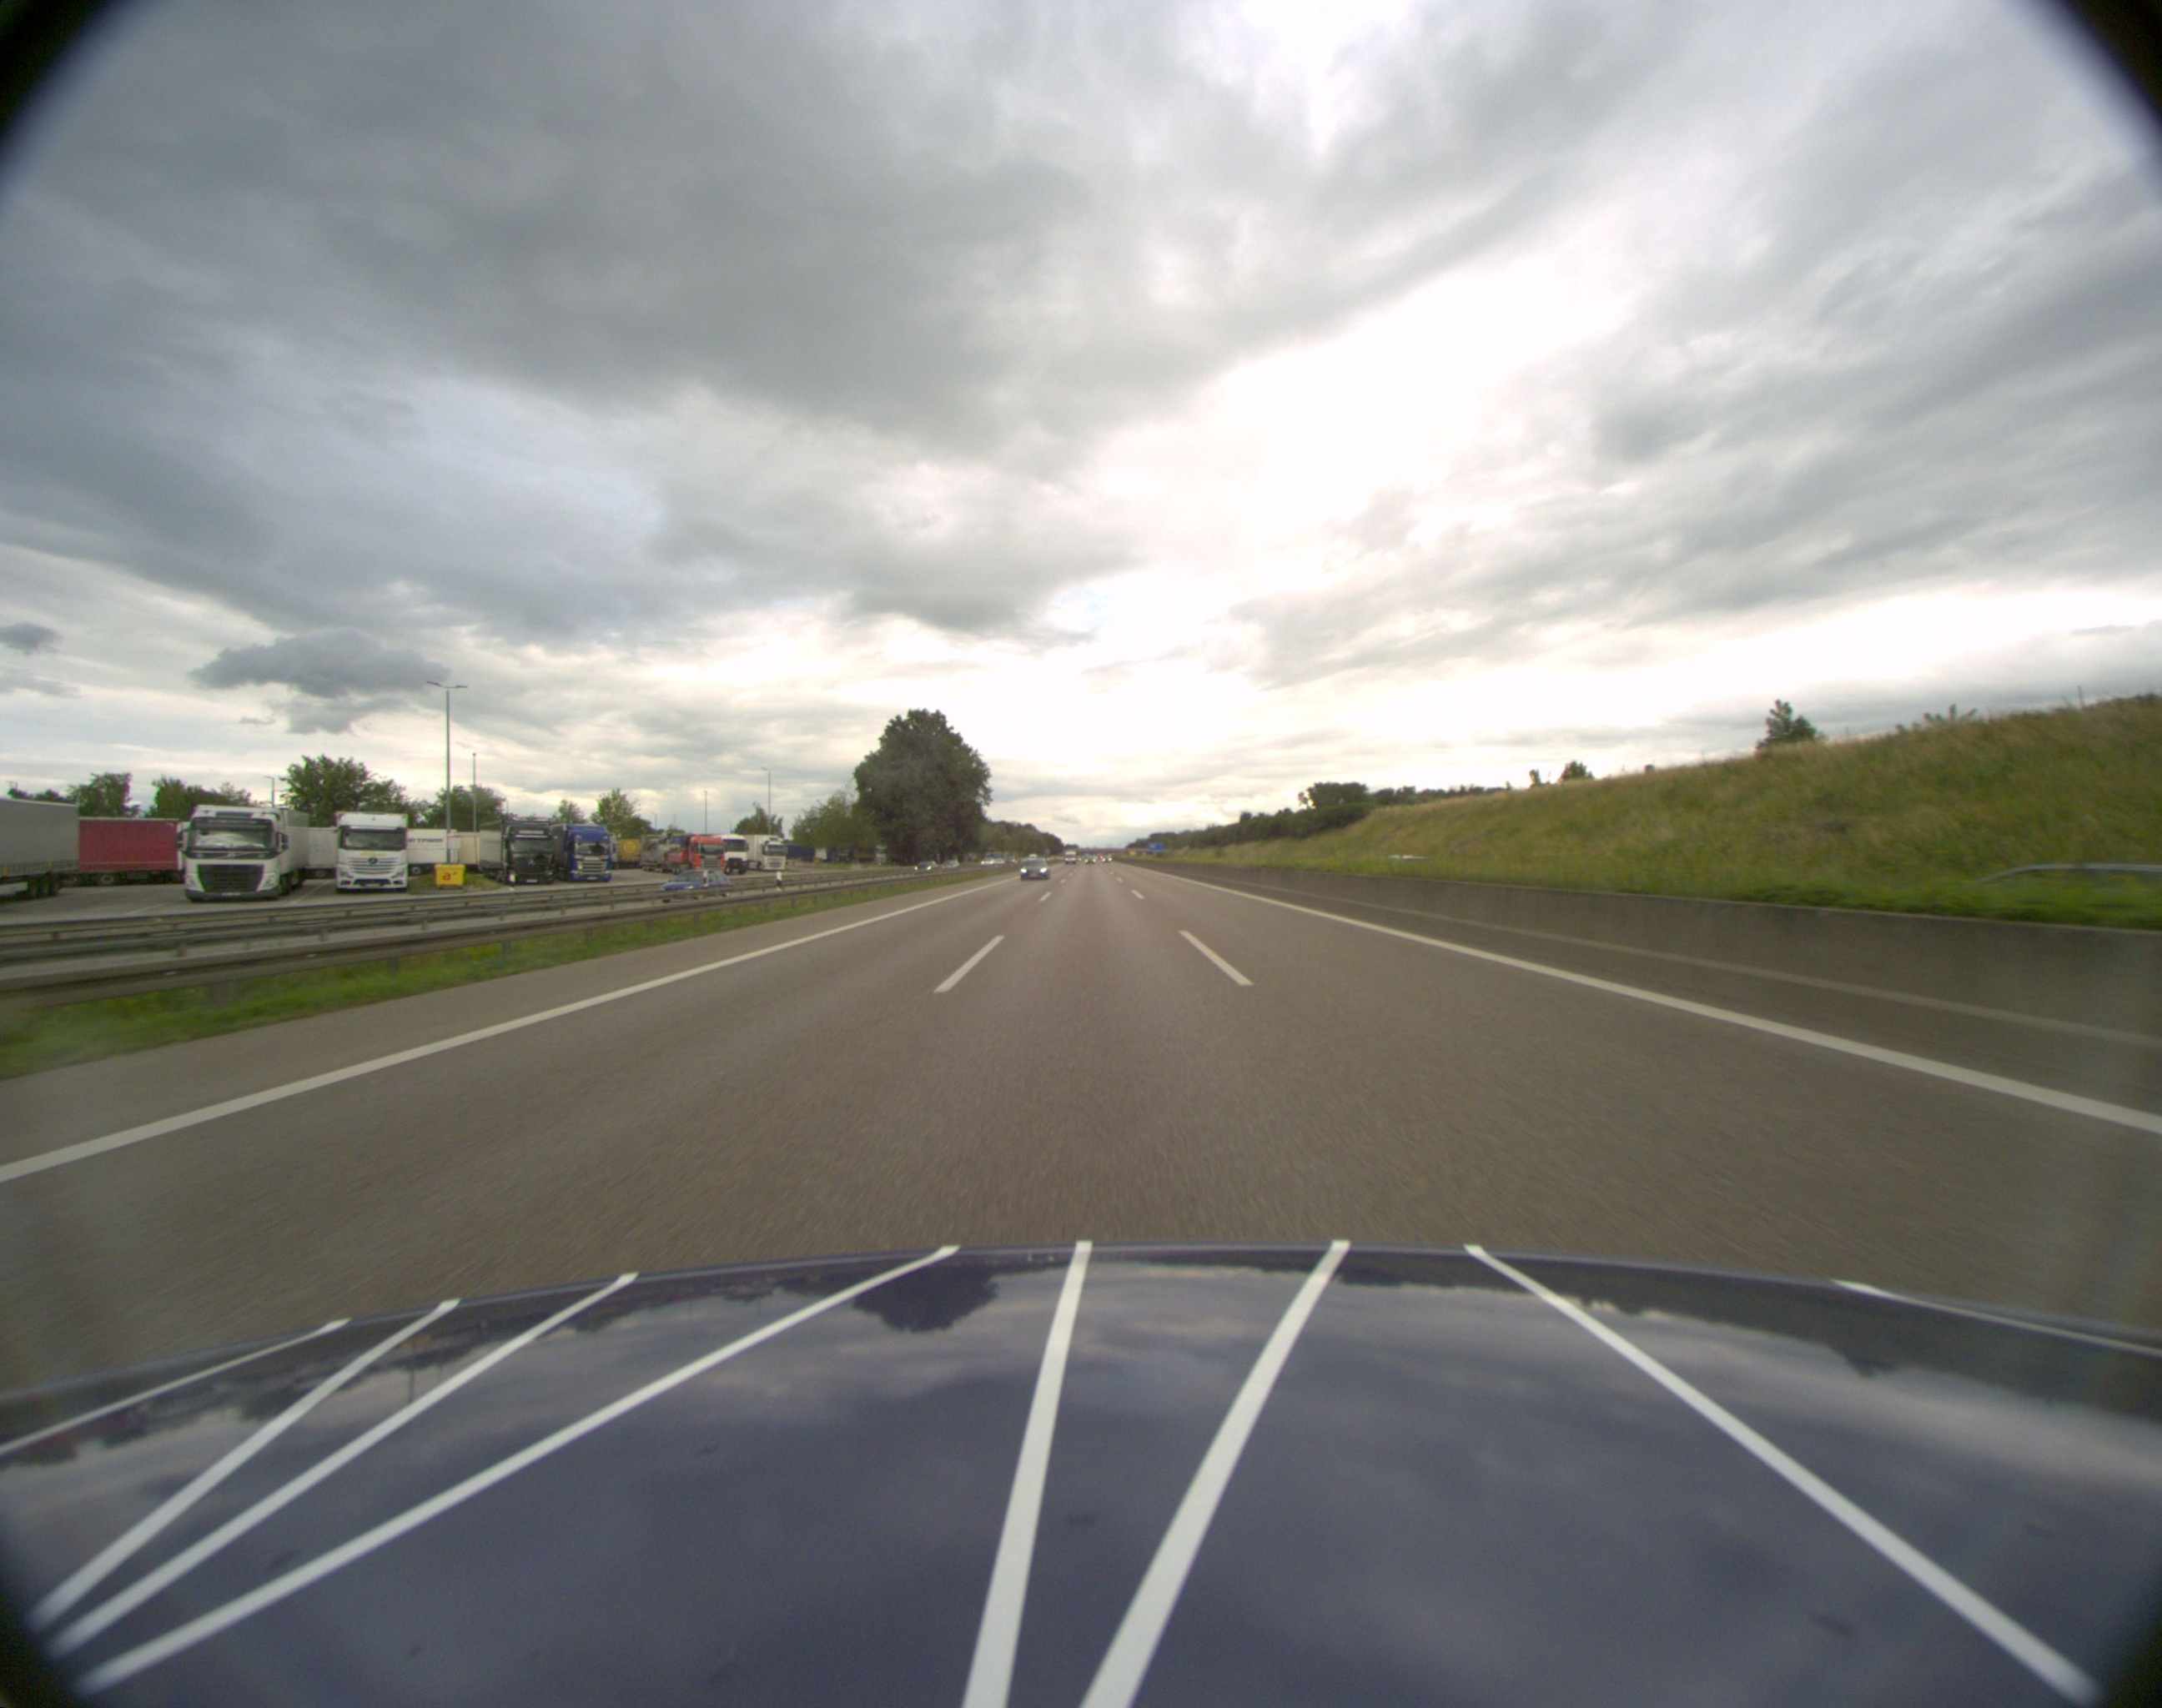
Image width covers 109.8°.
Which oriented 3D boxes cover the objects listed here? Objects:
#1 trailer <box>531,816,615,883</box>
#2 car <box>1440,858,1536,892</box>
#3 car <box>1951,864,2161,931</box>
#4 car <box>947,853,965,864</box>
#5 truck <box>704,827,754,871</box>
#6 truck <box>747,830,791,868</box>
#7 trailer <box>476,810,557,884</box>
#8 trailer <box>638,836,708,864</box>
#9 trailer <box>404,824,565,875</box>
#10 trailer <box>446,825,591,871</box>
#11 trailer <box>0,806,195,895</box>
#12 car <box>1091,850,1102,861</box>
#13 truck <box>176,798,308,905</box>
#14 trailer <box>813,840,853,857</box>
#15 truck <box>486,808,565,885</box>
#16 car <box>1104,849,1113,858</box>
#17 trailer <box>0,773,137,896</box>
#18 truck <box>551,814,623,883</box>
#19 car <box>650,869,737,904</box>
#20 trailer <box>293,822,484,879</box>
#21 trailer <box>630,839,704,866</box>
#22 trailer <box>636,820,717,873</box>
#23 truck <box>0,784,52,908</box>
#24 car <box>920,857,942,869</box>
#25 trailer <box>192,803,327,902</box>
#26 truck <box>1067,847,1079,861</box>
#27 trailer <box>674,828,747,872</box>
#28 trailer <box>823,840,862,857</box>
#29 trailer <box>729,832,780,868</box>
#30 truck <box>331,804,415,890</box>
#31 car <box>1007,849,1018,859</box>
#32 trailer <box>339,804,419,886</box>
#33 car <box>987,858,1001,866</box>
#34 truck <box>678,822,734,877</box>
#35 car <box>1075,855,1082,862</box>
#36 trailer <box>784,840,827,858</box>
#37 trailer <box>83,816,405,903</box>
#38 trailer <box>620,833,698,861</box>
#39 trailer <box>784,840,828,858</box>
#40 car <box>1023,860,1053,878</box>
[{"bbox_3d":[-38.819,-0.219,57.710,3.069,4.553,13.620,-3,1,-43],"label":"trailer"},{"bbox_3d":[12.801,0.632,24.071,1.491,0.965,2.925,0,0,1],"label":"car"},{"bbox_3d":[16.700,0.662,12.247,1.529,0.856,3.346,-2,1,1],"label":"car"},{"bbox_3d":[-14.630,0.493,88.891,1.413,1.299,4.000,0,0,1],"label":"car"},{"bbox_3d":[-34.427,-0.448,74.191,2.674,4.124,5.914,-3,1,-42],"label":"truck"},{"bbox_3d":[-35.436,-0.499,86.147,2.831,4.037,6.432,-3,1,-38],"label":"truck"},{"bbox_3d":[-39.235,-0.342,52.584,3.170,4.565,12.377,-3,1,-42],"label":"trailer"},{"bbox_3d":[-57.399,-0.610,107.131,2.914,3.594,8.050,-1,1,43],"label":"trailer"},{"bbox_3d":[-52.999,-0.503,67.951,2.914,4.098,10.820,-1,1,43],"label":"trailer"},{"bbox_3d":[-54.404,-0.655,73.866,2.914,4.098,10.820,-1,1,43],"label":"trailer"},{"bbox_3d":[-57.518,-0.107,39.400,14.684,4.615,3.151,-3,1,-44],"label":"trailer"},{"bbox_3d":[2.820,0.213,142.229,1.998,2.002,4.000,0,1,1],"label":"car"},{"bbox_3d":[-35.805,-0.086,32.704,2.891,4.111,6.953,-3,1,-42],"label":"truck"},{"bbox_3d":[-53.096,-1.199,162.814,2.914,3.438,7.603,-1,1,45],"label":"trailer"},{"bbox_3d":[-35.376,-0.443,48.318,3.174,4.531,6.069,-3,1,-43],"label":"truck"},{"bbox_3d":[6.345,-0.203,174.519,1.998,2.002,4.000,0,1,1],"label":"car"},{"bbox_3d":[-42.545,-0.447,30.295,3.536,4.110,15.536,-3,1,-42],"label":"trailer"},{"bbox_3d":[-34.766,-0.343,53.377,3.066,4.531,6.069,-3,1,-43],"label":"truck"},{"bbox_3d":[-16.483,1.340,32.497,1.796,1.251,3.545,-2,1,1],"label":"car"},{"bbox_3d":[-54.727,-0.406,60.438,2.914,4.098,10.820,-1,1,43],"label":"trailer"},{"bbox_3d":[-55.433,-0.229,101.879,8.049,3.227,2.914,-3,1,-45],"label":"trailer"},{"bbox_3d":[-39.622,-0.589,73.897,2.869,4.651,15.768,-3,1,-43],"label":"trailer"},{"bbox_3d":[-36.880,-0.196,23.964,3.554,4.061,7.635,-3,1,-41],"label":"truck"},{"bbox_3d":[-15.458,0.908,78.582,1.465,1.208,4.000,-1,0,1],"label":"car"},{"bbox_3d":[-40.634,0.056,38.139,2.860,4.081,15.847,-3,1,-42],"label":"trailer"},{"bbox_3d":[-1.581,-0.004,148.443,1.998,2.482,5.869,-2,1,1],"label":"truck"},{"bbox_3d":[-38.575,-0.308,78.687,2.668,4.089,14.030,-3,1,-43],"label":"trailer"},{"bbox_3d":[-52.835,-1.262,168.188,2.914,3.438,7.603,-1,1,45],"label":"trailer"},{"bbox_3d":[-39.323,-0.392,91.197,2.821,4.031,10.933,-3,1,-38],"label":"trailer"},{"bbox_3d":[-35.328,-0.318,38.089,2.701,4.032,4.785,-3,1,-40],"label":"truck"},{"bbox_3d":[-14.353,0.071,160.037,1.704,2.002,4.343,-2,1,1],"label":"car"},{"bbox_3d":[-40.150,-0.347,43.816,2.656,4.070,13.764,-3,1,-40],"label":"trailer"},{"bbox_3d":[-14.170,1.279,124.401,1.828,1.236,3.878,0,0,1],"label":"car"},{"bbox_3d":[-33.120,-0.350,67.013,2.883,4.598,5.158,-3,1,-43],"label":"truck"},{"bbox_3d":[-0.760,1.291,223.479,1.998,2.002,3.999,-2,1,1],"label":"car"},{"bbox_3d":[-55.949,-0.999,154.407,2.914,3.438,7.603,-1,1,45],"label":"trailer"},{"bbox_3d":[-53.967,0.115,50.147,13.578,4.983,5.233,-3,1,-44],"label":"trailer"},{"bbox_3d":[-53.957,-0.919,97.259,8.049,3.227,2.914,-3,1,-45],"label":"trailer"},{"bbox_3d":[-54.578,-1.023,151.030,2.914,3.438,7.603,-1,1,45],"label":"trailer"},{"bbox_3d":[-2.959,1.002,52.530,1.781,1.180,4.000,0,0,1],"label":"car"}]
